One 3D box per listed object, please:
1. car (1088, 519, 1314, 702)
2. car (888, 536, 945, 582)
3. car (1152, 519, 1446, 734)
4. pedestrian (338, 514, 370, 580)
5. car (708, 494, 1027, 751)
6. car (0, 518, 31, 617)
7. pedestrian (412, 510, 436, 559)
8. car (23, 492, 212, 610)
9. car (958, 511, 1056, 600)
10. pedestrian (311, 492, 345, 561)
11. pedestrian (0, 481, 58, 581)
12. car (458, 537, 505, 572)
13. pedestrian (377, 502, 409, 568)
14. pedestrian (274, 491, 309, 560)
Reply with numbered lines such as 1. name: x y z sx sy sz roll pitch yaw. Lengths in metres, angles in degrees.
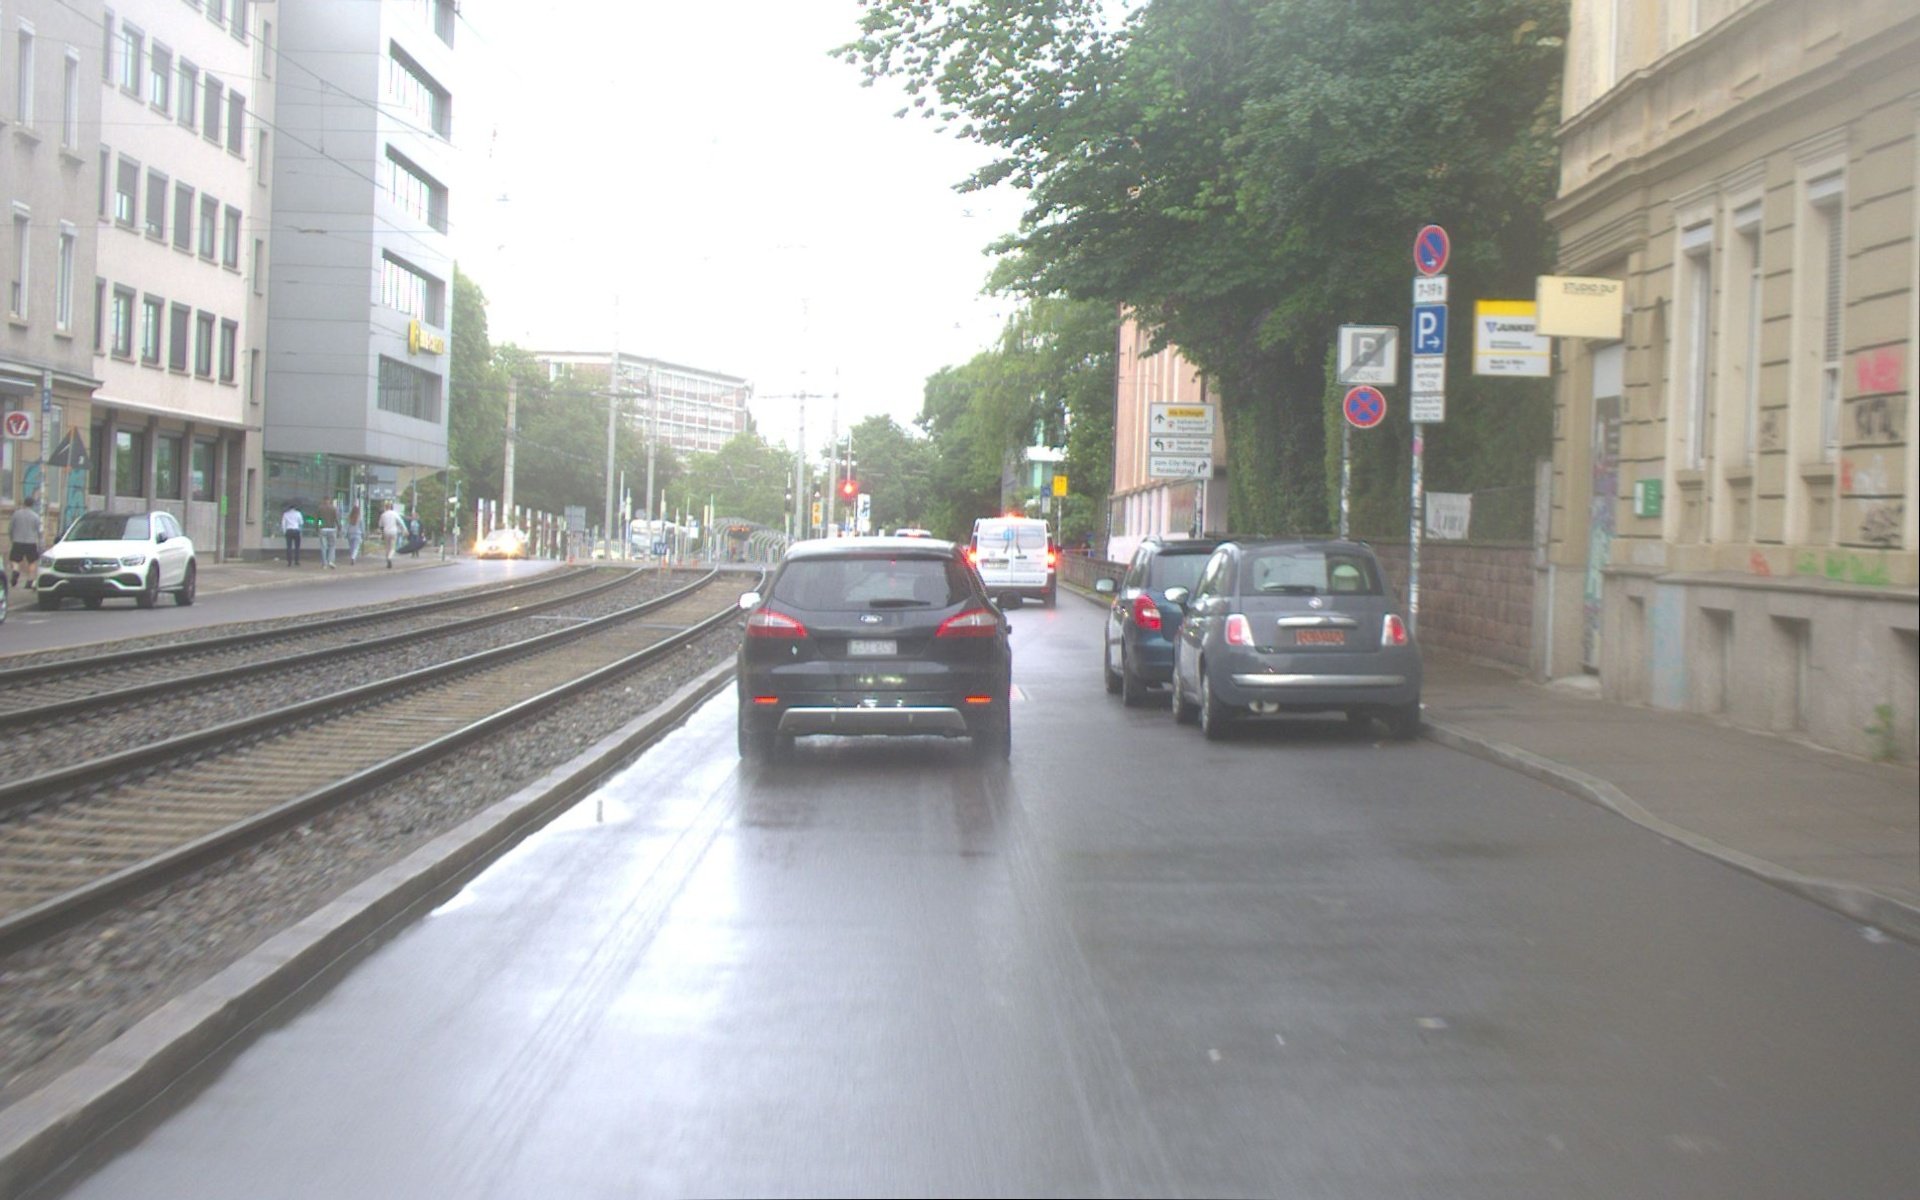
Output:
1. car: 2.142 0.050 31.475 1.642 1.510 4.039 2 1 -1
2. car: -1.574 -1.489 125.751 1.993 1.588 4.271 1 0 0
3. car: 2.539 0.146 26.608 1.738 1.484 4.000 2 1 -1
4. pedestrian: -17.506 -1.525 99.296 0.744 1.847 0.839 1 -1 -1
5. car: -0.590 0.151 23.962 1.993 1.588 4.271 1 0 0
6. car: -14.217 -0.478 46.768 1.993 1.371 4.238 2 1 0
7. pedestrian: -20.468 -2.490 131.336 0.744 1.847 0.839 1 -1 -1
8. car: -14.214 -0.822 58.290 1.993 1.833 5.071 2 1 -1
9. car: 0.982 -0.930 74.035 1.993 1.810 4.271 1 0 0
10. pedestrian: -17.106 -1.987 93.068 0.744 1.847 0.839 1 -1 -1
11. pedestrian: -16.637 -1.231 61.338 0.801 1.744 0.984 2 0 -1
12. car: -21.332 -2.033 153.098 1.993 1.437 4.001 2 1 -9
13. pedestrian: -16.400 -1.874 99.433 0.744 1.847 0.839 1 -1 -1
14. pedestrian: -18.079 -2.008 92.956 0.744 1.847 0.839 1 -1 -1
